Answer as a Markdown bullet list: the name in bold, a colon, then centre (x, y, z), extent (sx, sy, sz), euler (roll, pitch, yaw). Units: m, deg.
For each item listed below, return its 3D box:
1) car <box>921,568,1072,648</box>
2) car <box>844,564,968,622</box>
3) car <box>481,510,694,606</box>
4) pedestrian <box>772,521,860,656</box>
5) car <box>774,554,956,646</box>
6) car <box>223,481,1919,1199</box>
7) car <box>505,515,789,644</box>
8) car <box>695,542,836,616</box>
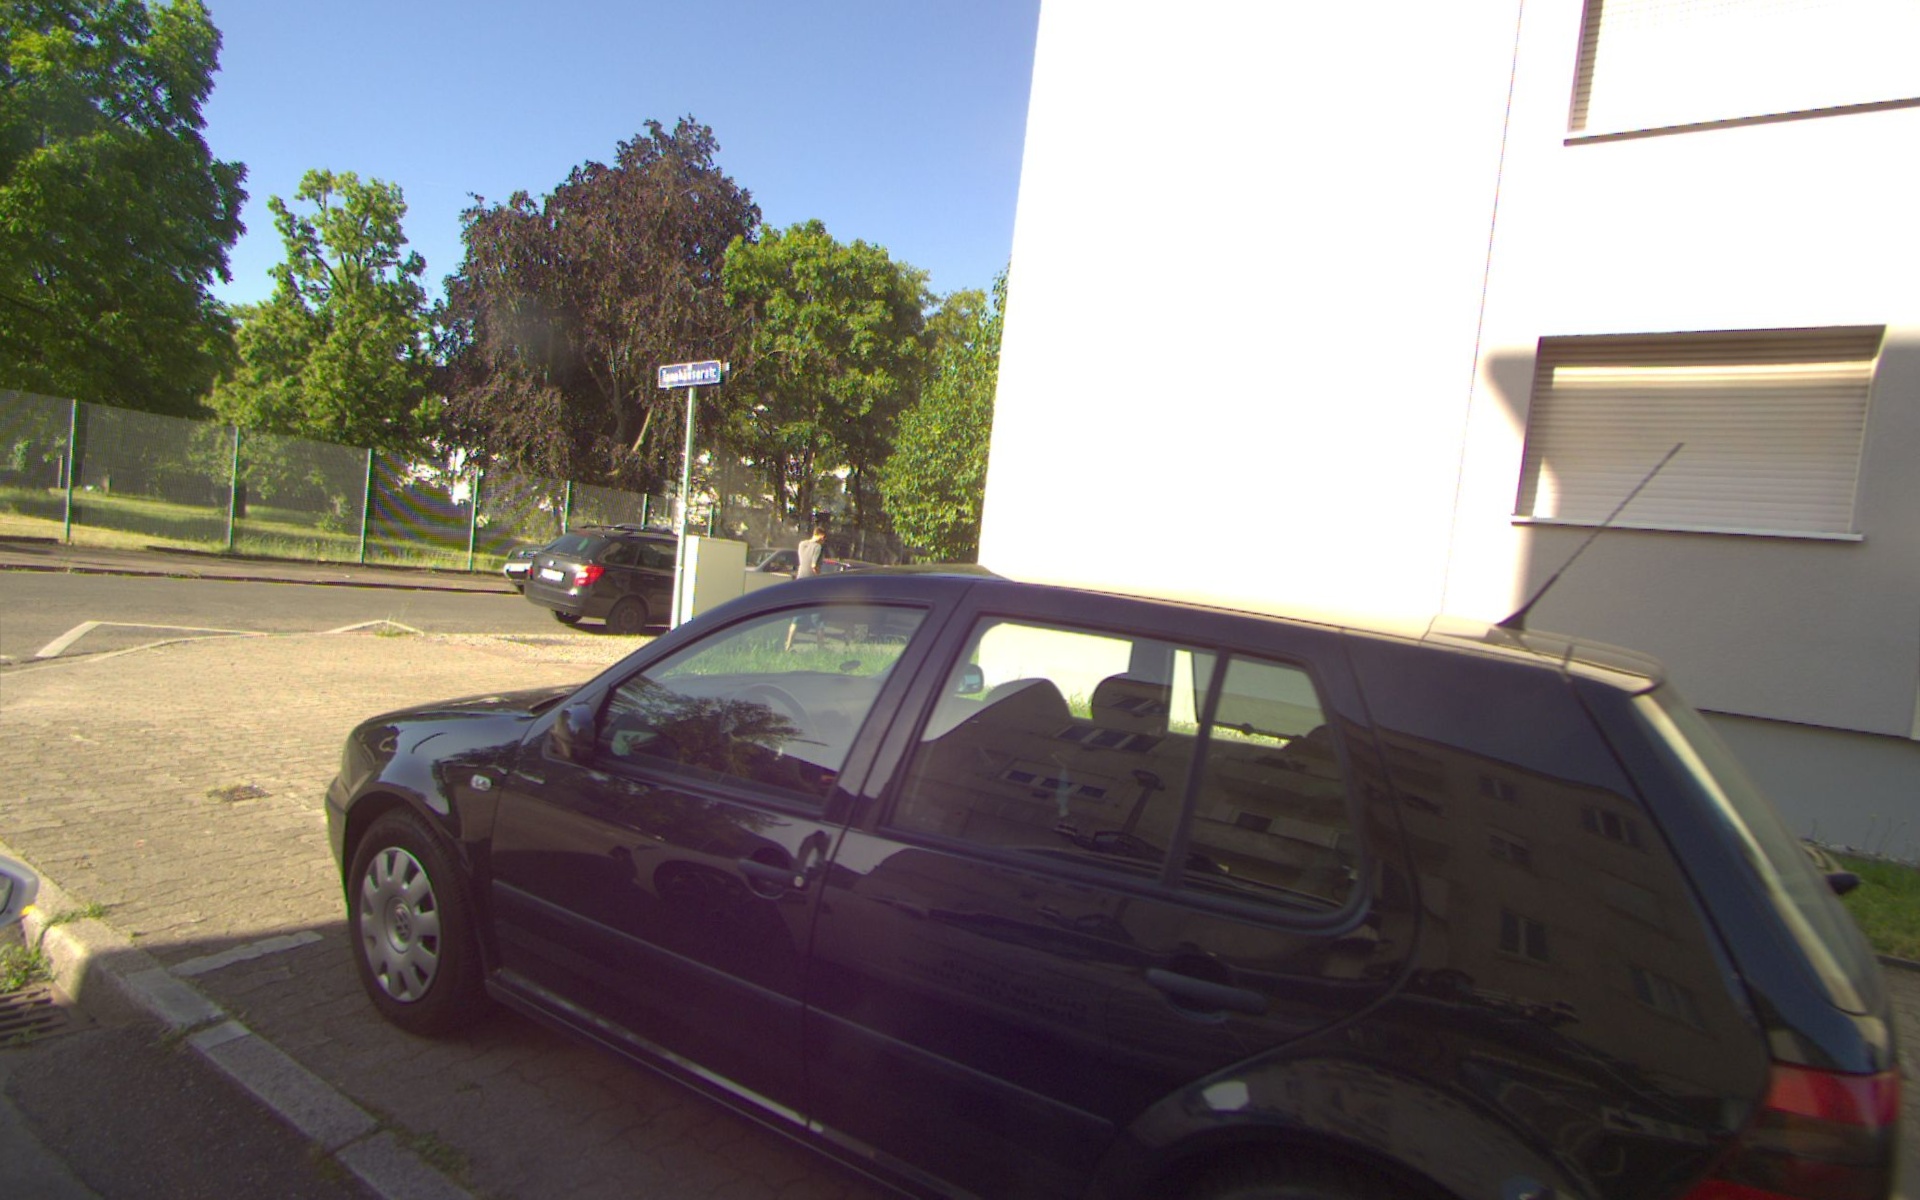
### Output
- **car**: centre (1.002, 0.243, 24.648), extent (1.728, 1.579, 4.245), euler (9, 2, 31)
- **car**: centre (-1.628, -0.192, 31.748), extent (1.771, 1.463, 4.108), euler (5, 0, 33)
- **car**: centre (-8.006, -0.856, 21.997), extent (1.690, 1.684, 4.154), euler (4, -1, 32)
- **pedestrian**: centre (-2.048, -0.153, 14.303), extent (0.638, 1.795, 0.836), euler (9, 3, 41)
- **car**: centre (-1.833, 0.058, 20.422), extent (1.583, 1.503, 3.787), euler (8, 2, 32)
- **car**: centre (-0.167, 0.558, 2.861), extent (3.982, 1.435, 1.796), euler (7, 4, 32)
- **car**: centre (-4.719, -0.241, 15.746), extent (1.596, 1.568, 4.074), euler (8, 1, 32)
- **car**: centre (-5.057, -0.518, 26.537), extent (1.543, 1.664, 3.606), euler (4, -1, 32)
